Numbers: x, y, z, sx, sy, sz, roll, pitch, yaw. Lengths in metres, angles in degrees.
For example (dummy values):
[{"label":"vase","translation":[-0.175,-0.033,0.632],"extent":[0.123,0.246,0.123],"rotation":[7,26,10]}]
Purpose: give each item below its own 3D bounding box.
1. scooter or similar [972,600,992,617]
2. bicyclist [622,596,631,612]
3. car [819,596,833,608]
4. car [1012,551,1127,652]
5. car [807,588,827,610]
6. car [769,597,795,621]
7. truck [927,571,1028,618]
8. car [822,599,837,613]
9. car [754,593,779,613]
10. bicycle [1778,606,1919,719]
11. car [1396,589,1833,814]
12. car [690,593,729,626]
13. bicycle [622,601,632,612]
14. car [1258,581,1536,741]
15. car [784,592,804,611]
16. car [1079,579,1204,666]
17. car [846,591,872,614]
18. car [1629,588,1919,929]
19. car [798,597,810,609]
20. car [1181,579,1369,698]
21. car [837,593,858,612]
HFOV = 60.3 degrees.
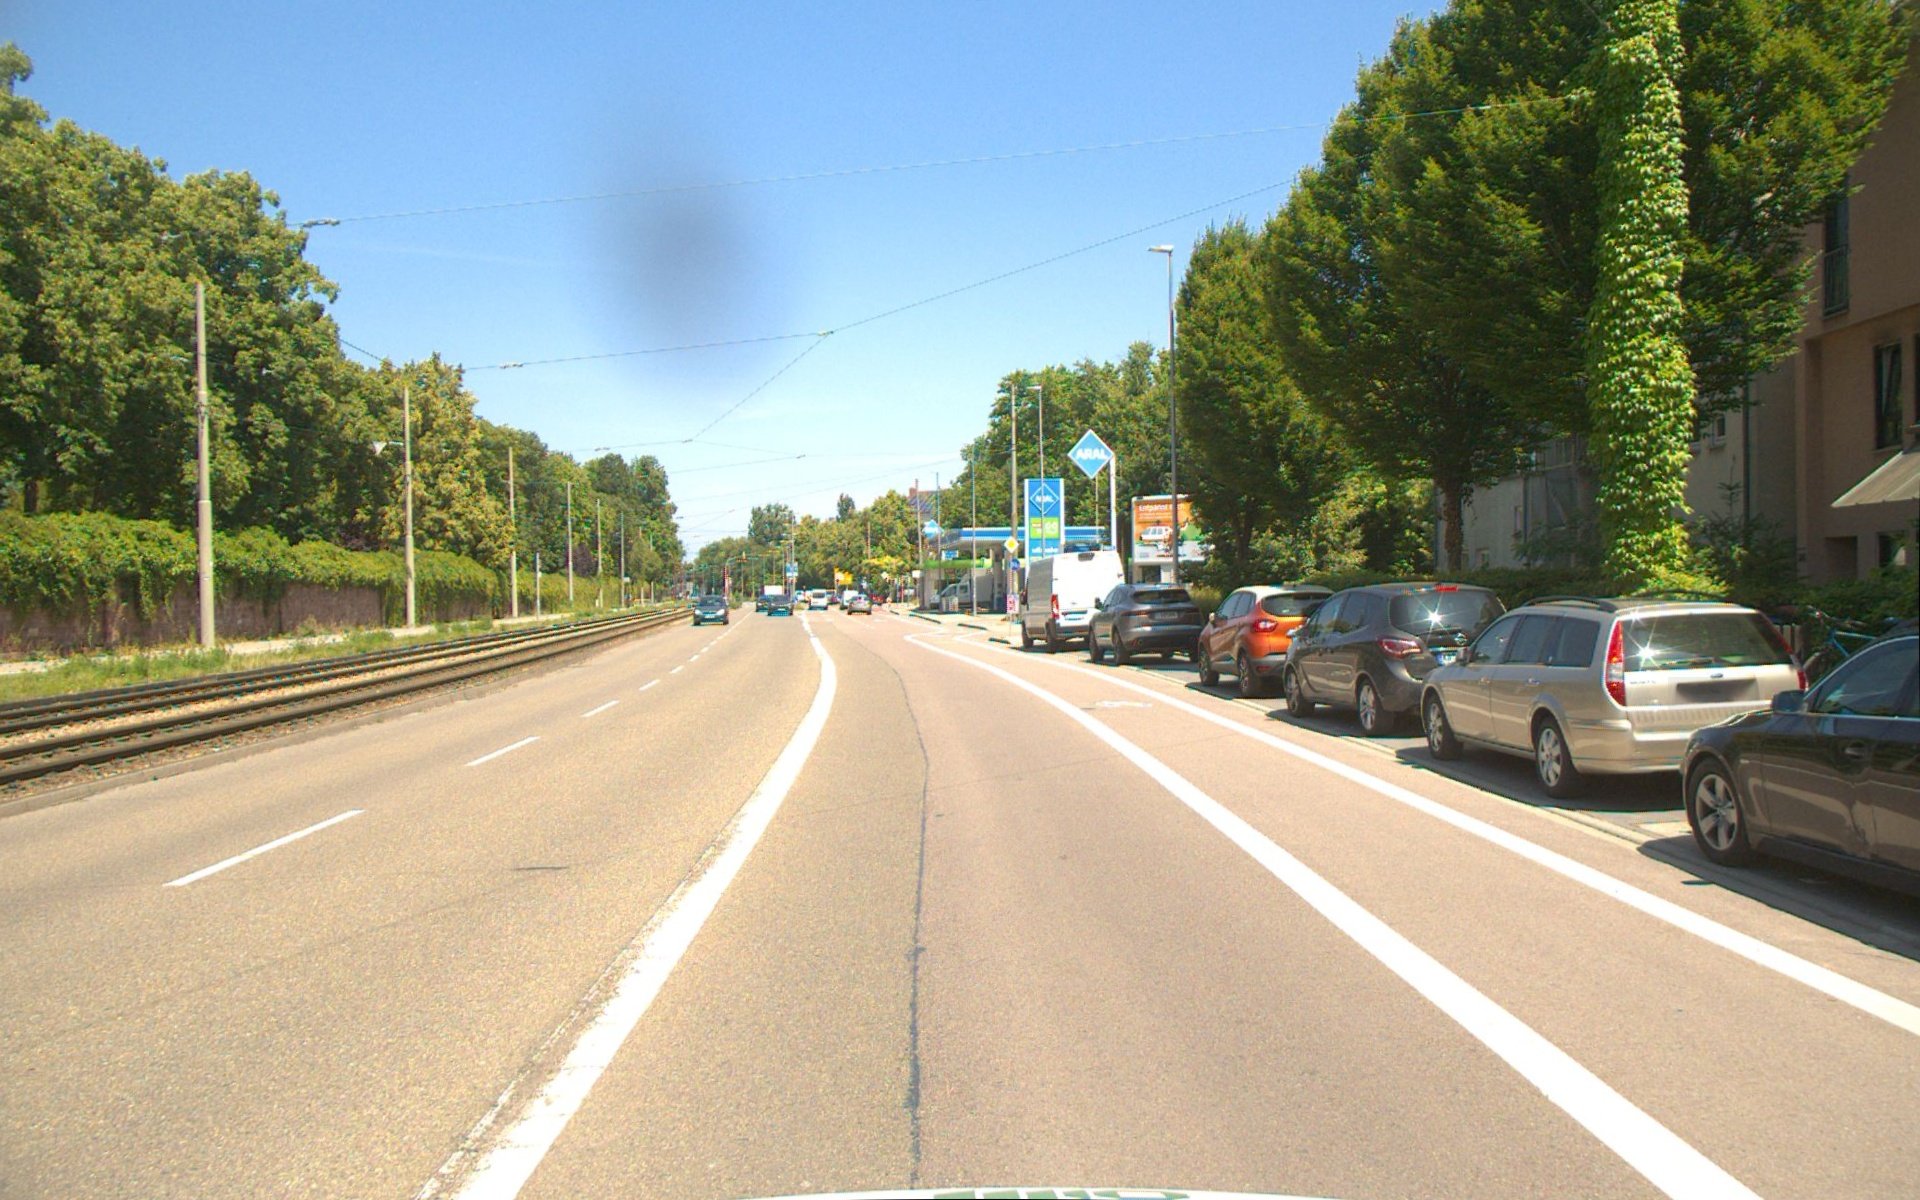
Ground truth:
[{"label":"scooter or similar","translation":[1.786,0.688,133.766],"extent":[1.523,1.351,0.536],"rotation":[0,0,-8]},{"label":"bicyclist","translation":[-34.662,0.391,171.992],"extent":[0.668,1.601,0.794],"rotation":[-5,-1,-4]},{"label":"car","translation":[-18.704,0.252,231.347],"extent":[1.722,1.659,4.318],"rotation":[-3,0,-6]},{"label":"car","translation":[2.919,0.034,45.632],"extent":[1.963,2.499,6.099],"rotation":[-3,0,-7]},{"label":"car","translation":[-13.406,-0.104,154.564],"extent":[1.722,1.907,4.318],"rotation":[-3,0,-6]},{"label":"car","translation":[-12.733,0.623,118.250],"extent":[1.722,1.659,4.318],"rotation":[-3,0,-6]},{"label":"truck","translation":[1.348,-0.438,129.756],"extent":[7.805,3.665,2.662],"rotation":[0,0,0]},{"label":"car","translation":[-16.938,0.796,214.637],"extent":[1.722,1.659,4.318],"rotation":[-3,0,-6]},{"label":"car","translation":[-16.979,0.240,145.011],"extent":[1.725,1.659,4.311],"rotation":[-3,0,-11]},{"label":"bicycle","translation":[9.558,0.652,17.405],"extent":[1.611,1.159,0.515],"rotation":[0,0,7]},{"label":"car","translation":[5.298,0.707,14.158],"extent":[1.672,1.518,4.729],"rotation":[-3,0,-2]},{"label":"car","translation":[-12.710,0.453,84.141],"extent":[1.722,1.535,4.318],"rotation":[-3,0,-6]},{"label":"bicycle","translation":[-34.635,0.721,171.980],"extent":[0.668,1.072,2.007],"rotation":[-5,0,-4]},{"label":"car","translation":[4.979,0.628,19.499],"extent":[1.674,1.589,4.318],"rotation":[-3,0,-6]},{"label":"car","translation":[-15.225,0.101,152.042],"extent":[1.721,1.659,4.320],"rotation":[-3,0,-5]},{"label":"car","translation":[3.813,0.443,35.462],"extent":[1.722,1.659,4.318],"rotation":[-3,0,-6]},{"label":"car","translation":[-7.721,0.186,126.300],"extent":[1.722,1.659,4.318],"rotation":[-3,0,-6]},{"label":"car","translation":[5.275,0.736,8.283],"extent":[1.672,1.518,5.037],"rotation":[-3,0,-1]},{"label":"car","translation":[-23.884,0.446,253.118],"extent":[1.722,1.659,4.318],"rotation":[-3,0,-6]},{"label":"car","translation":[4.728,0.531,25.434],"extent":[1.674,1.589,4.319],"rotation":[-3,0,-5]},{"label":"car","translation":[-10.586,0.223,155.838],"extent":[1.722,1.659,4.318],"rotation":[-3,0,-6]}]
